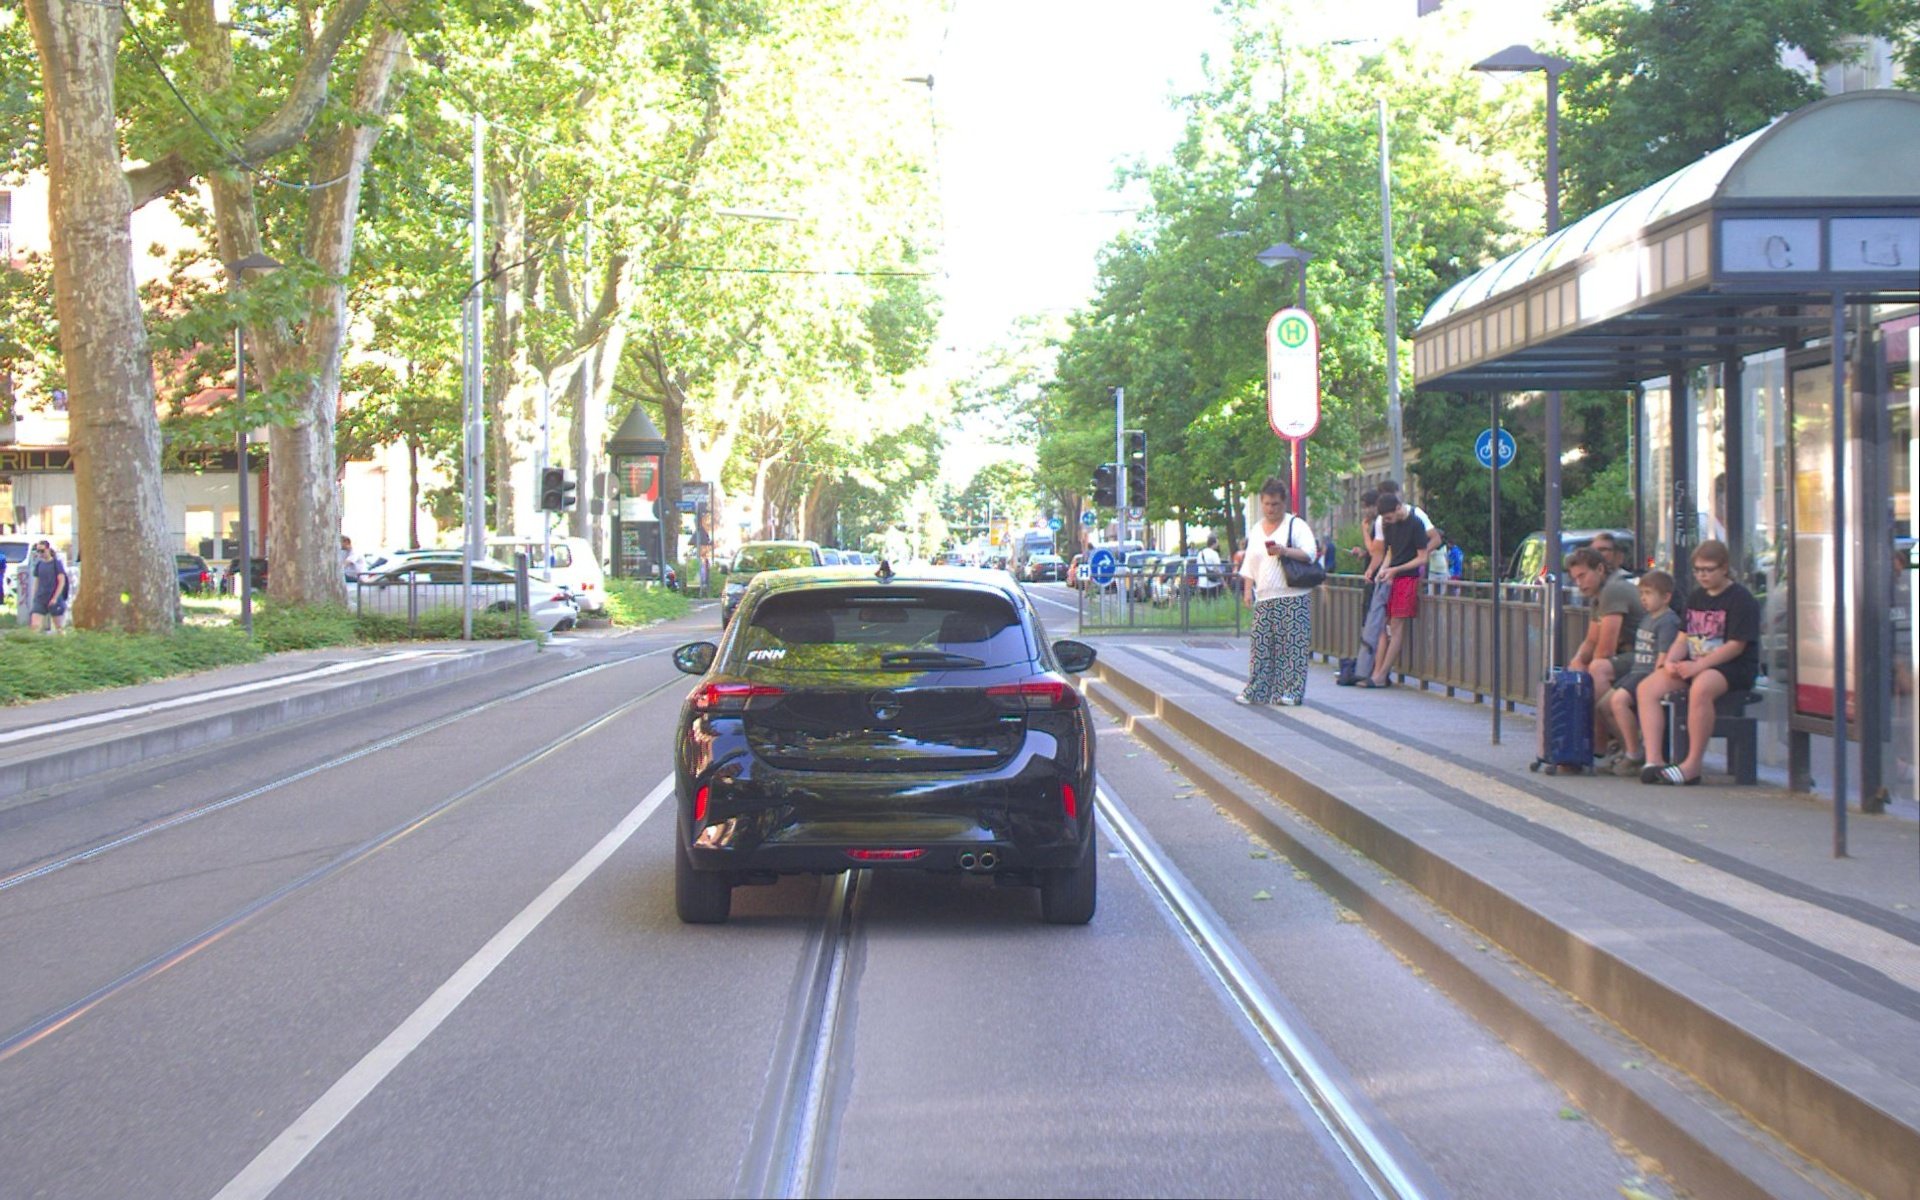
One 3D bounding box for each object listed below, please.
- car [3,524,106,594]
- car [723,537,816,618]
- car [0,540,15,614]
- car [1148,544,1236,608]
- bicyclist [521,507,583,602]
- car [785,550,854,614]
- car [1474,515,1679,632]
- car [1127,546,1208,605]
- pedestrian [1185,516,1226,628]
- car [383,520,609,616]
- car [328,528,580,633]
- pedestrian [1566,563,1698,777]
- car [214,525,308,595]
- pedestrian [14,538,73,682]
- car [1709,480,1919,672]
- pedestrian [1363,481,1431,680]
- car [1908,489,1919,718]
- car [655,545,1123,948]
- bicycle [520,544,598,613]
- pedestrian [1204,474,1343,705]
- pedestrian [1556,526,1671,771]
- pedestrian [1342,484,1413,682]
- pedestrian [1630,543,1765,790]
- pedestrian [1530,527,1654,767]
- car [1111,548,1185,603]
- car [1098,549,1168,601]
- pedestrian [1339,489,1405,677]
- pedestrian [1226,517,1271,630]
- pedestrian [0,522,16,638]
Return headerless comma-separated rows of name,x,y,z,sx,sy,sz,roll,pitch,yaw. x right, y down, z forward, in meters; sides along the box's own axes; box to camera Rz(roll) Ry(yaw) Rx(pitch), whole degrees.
car,-26.553,-1.204,100.923,1.993,2.007,4.000,1,0,-1
car,-3.721,-0.449,67.623,1.745,1.539,4.000,1,0,-2
car,-27.918,-0.641,92.861,4.249,2.007,2.000,1,0,-1
car,6.149,-0.640,91.445,1.993,1.627,4.000,1,0,-1
bicyclist,-7.380,-0.826,62.222,0.941,1.697,1.153,1,0,2
car,-3.790,-0.494,92.735,1.785,1.687,4.000,1,0,-2
car,8.248,-0.358,46.326,1.993,1.481,4.000,1,0,-1
car,5.891,-0.695,97.887,1.993,1.627,4.000,1,0,-1
pedestrian,4.475,-0.522,62.604,0.675,2.007,0.701,2,1,5
car,-9.248,-0.628,68.563,4.383,1.845,2.000,0,0,-8
car,-8.488,-0.324,57.842,4.113,1.695,1.884,0,0,-8
pedestrian,3.503,0.359,17.953,0.534,1.096,0.551,1,0,-5
car,-20.558,-1.164,101.234,1.993,2.007,4.000,1,0,-1
pedestrian,-12.508,0.136,46.932,0.672,1.943,0.498,1,0,-1
car,8.937,-0.234,34.171,1.993,1.791,4.000,1,0,-1
pedestrian,3.904,-0.176,30.744,0.531,1.757,0.661,1,0,2
car,9.167,0.052,27.422,1.993,1.946,4.000,1,0,-1
car,-0.361,0.538,14.900,1.759,1.503,3.683,-1,0,-3
bicycle,-7.350,-0.395,63.126,0.955,1.236,2.977,1,0,2
pedestrian,2.368,-0.082,25.938,0.751,1.703,0.762,1,0,34
pedestrian,3.509,0.258,18.477,0.502,1.300,0.429,1,0,-5
pedestrian,3.645,-0.151,30.043,0.531,1.703,0.752,1,0,2
pedestrian,3.736,0.331,17.432,0.534,1.226,0.510,1,0,-5
pedestrian,3.481,0.256,18.970,0.534,1.300,0.551,1,0,-5
car,5.691,-0.750,104.528,1.993,1.627,4.000,1,0,-1
car,5.550,-0.802,110.823,1.993,1.627,4.000,1,0,-1
pedestrian,3.769,-0.156,31.485,0.531,1.703,0.596,1,0,2
pedestrian,5.234,-0.488,62.307,0.675,2.007,0.701,2,1,11
pedestrian,-16.363,-0.343,58.056,0.672,1.943,0.498,2,1,-4
